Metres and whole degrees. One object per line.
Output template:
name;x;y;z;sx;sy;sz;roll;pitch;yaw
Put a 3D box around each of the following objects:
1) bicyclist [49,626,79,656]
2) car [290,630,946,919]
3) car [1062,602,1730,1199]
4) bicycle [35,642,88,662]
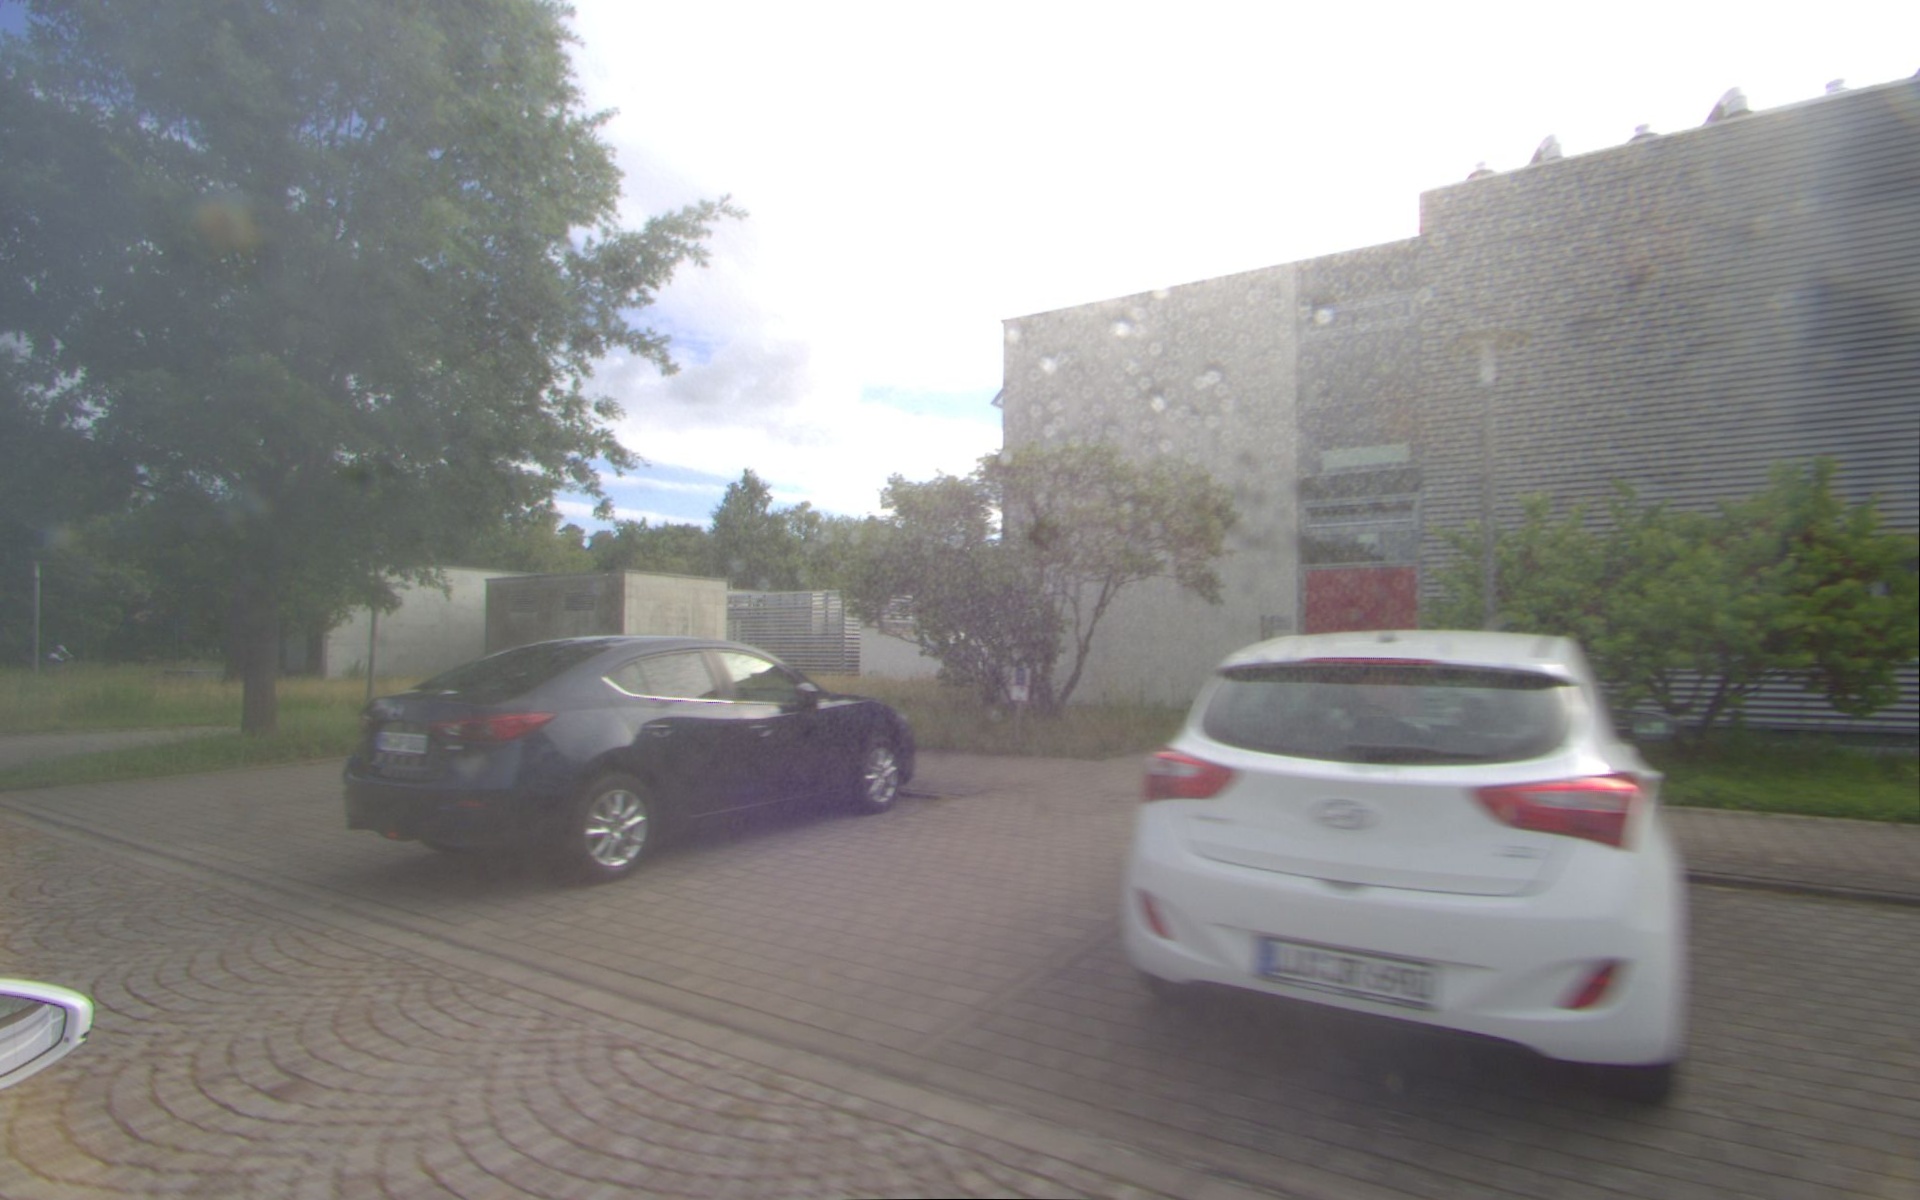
bicyclist;-36.938;1.696;41.287;0.580;1.221;0.768;-1;-2;33
car;-2.119;0.963;7.508;1.917;1.465;4.455;-1;-2;32
car;2.196;0.841;4.683;1.856;1.485;3.969;-1;-3;32
bicycle;-36.961;2.132;41.225;0.580;0.801;1.514;-1;-3;33
